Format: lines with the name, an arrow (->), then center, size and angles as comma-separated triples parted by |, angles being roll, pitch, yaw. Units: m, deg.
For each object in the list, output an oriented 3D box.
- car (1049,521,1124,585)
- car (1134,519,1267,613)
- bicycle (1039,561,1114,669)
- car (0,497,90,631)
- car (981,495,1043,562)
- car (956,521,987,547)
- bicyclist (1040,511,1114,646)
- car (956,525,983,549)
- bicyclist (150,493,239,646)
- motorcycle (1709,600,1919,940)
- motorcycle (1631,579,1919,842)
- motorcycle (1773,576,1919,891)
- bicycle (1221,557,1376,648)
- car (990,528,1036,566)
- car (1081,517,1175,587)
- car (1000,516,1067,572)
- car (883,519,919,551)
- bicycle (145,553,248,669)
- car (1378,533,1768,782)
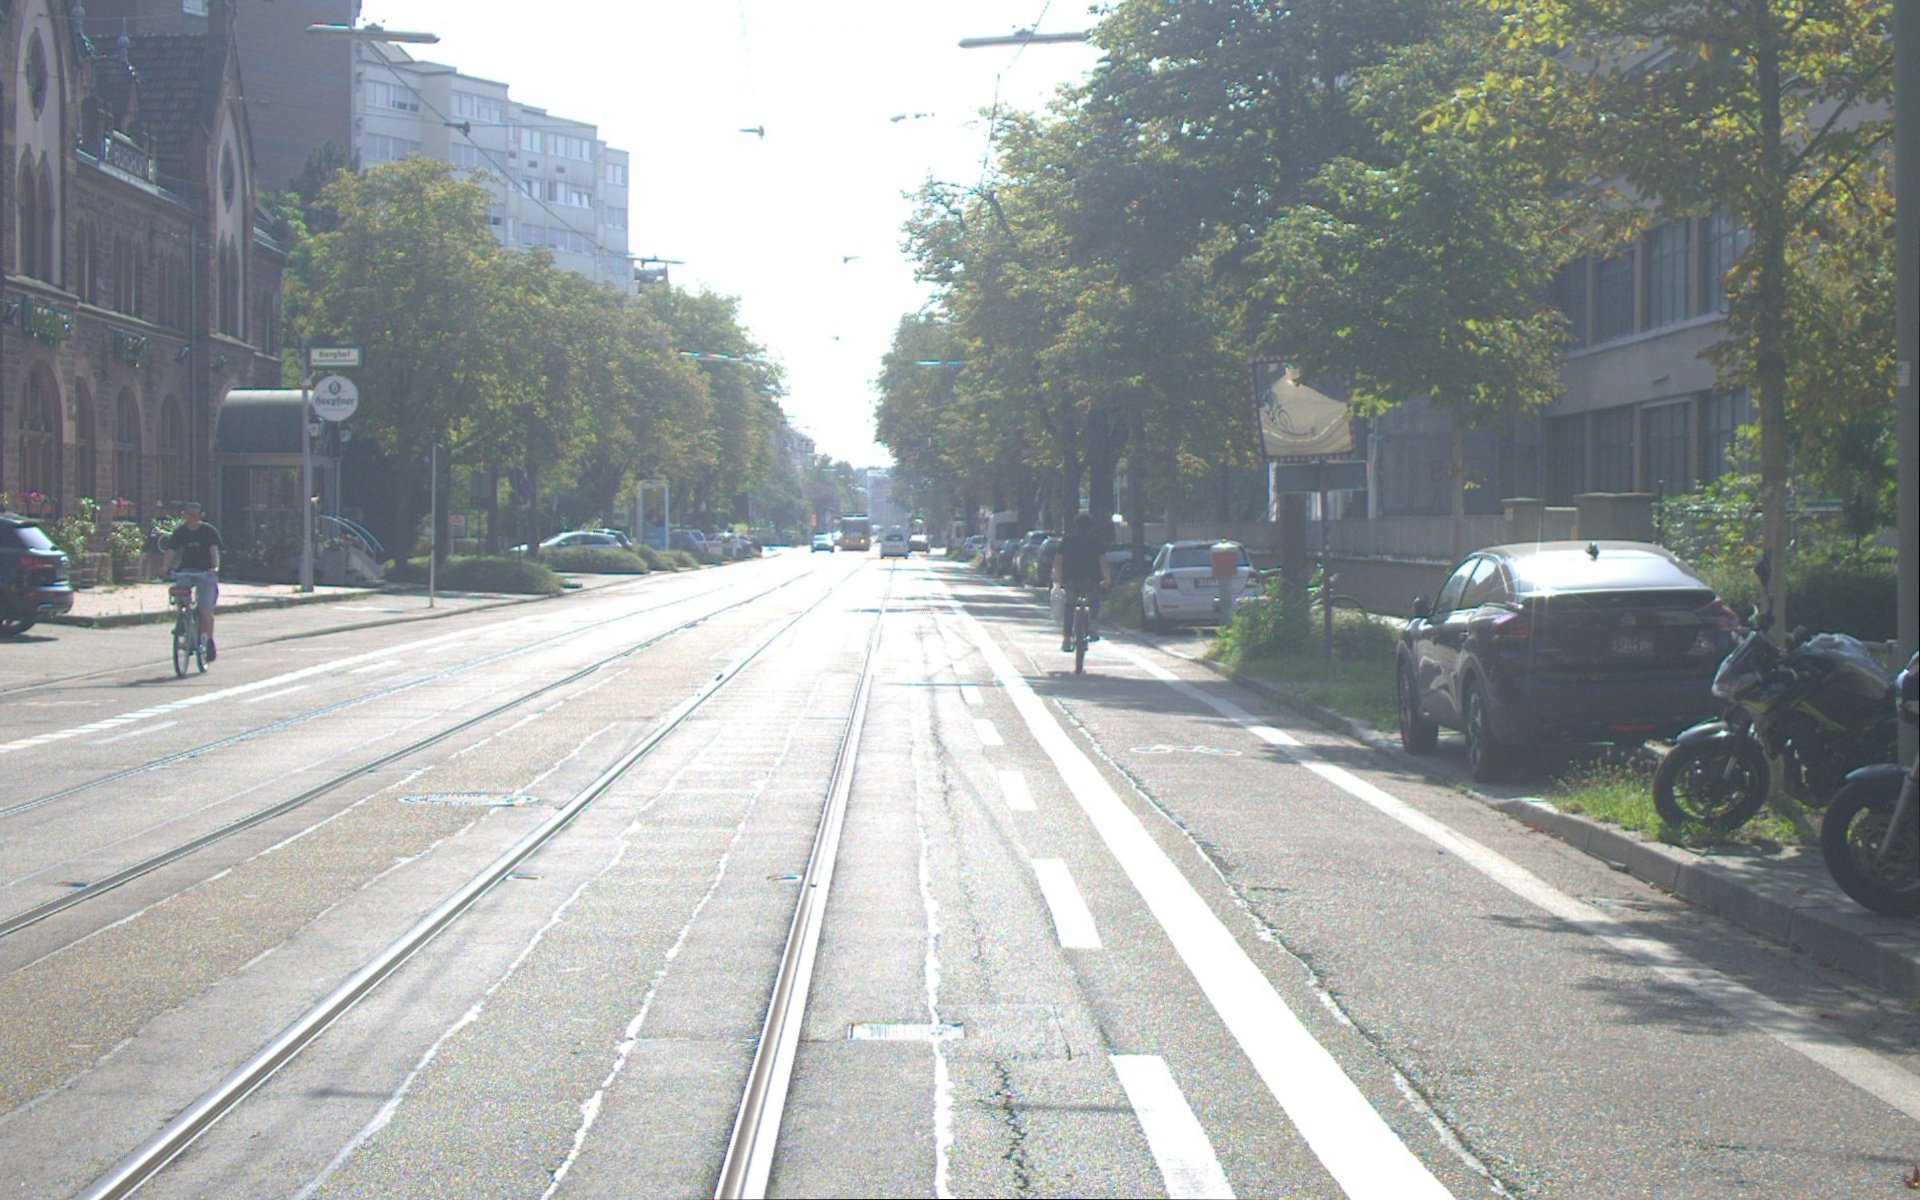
car -> 3.093, -1.167, 84.684 | 1.646, 1.506, 3.778 | -1, 1, 0
car -> 3.777, -0.553, 54.489 | 1.640, 1.425, 3.990 | -1, 1, -3
bicycle -> 1.280, 0.152, 38.132 | 0.787, 1.140, 2.305 | 0, 1, 1
car -> -13.758, -0.600, 44.610 | 4.396, 1.640, 1.957 | 4, 1, -3
car -> 2.059, -2.900, 138.861 | 2.082, 2.544, 5.502 | -3, 1, -2
car -> 0.647, -3.701, 191.683 | 1.689, 1.413, 3.634 | 0, 1, 0
bicyclist -> 1.288, -0.247, 38.100 | 0.787, 1.465, 1.116 | 0, 1, 1
car -> 0.561, -3.742, 205.312 | 1.595, 1.413, 3.634 | 0, 1, 0
bicyclist -> -8.158, -0.330, 36.664 | 0.697, 1.575, 1.087 | -2, 1, -3
motorcycle -> 3.965, 0.628, 12.942 | 2.065, 1.238, 0.843 | 0, 1, 38
motorcycle -> 4.332, 0.525, 16.727 | 1.985, 1.221, 0.645 | 1, 1, 24
motorcycle -> 4.524, 0.569, 14.695 | 0.842, 1.322, 2.067 | -2, 1, -30
bicycle -> 4.132, 0.025, 42.010 | 1.768, 1.060, 0.796 | -1, 1, -3
car -> 1.954, -2.001, 128.651 | 1.616, 1.369, 4.827 | 0, 1, 0
car -> 3.549, -1.048, 73.091 | 1.646, 1.423, 4.085 | -1, 1, -2
car -> 2.289, -1.781, 107.796 | 1.753, 1.685, 4.397 | 1, 2, -3
car -> -3.440, -3.770, 200.697 | 1.993, 1.831, 4.000 | 0, 1, 0
bicycle -> -8.130, 0.100, 36.664 | 0.697, 1.154, 2.038 | -2, 1, -3
car -> 4.136, 0.320, 23.874 | 1.740, 1.481, 4.438 | -1, 2, -2
